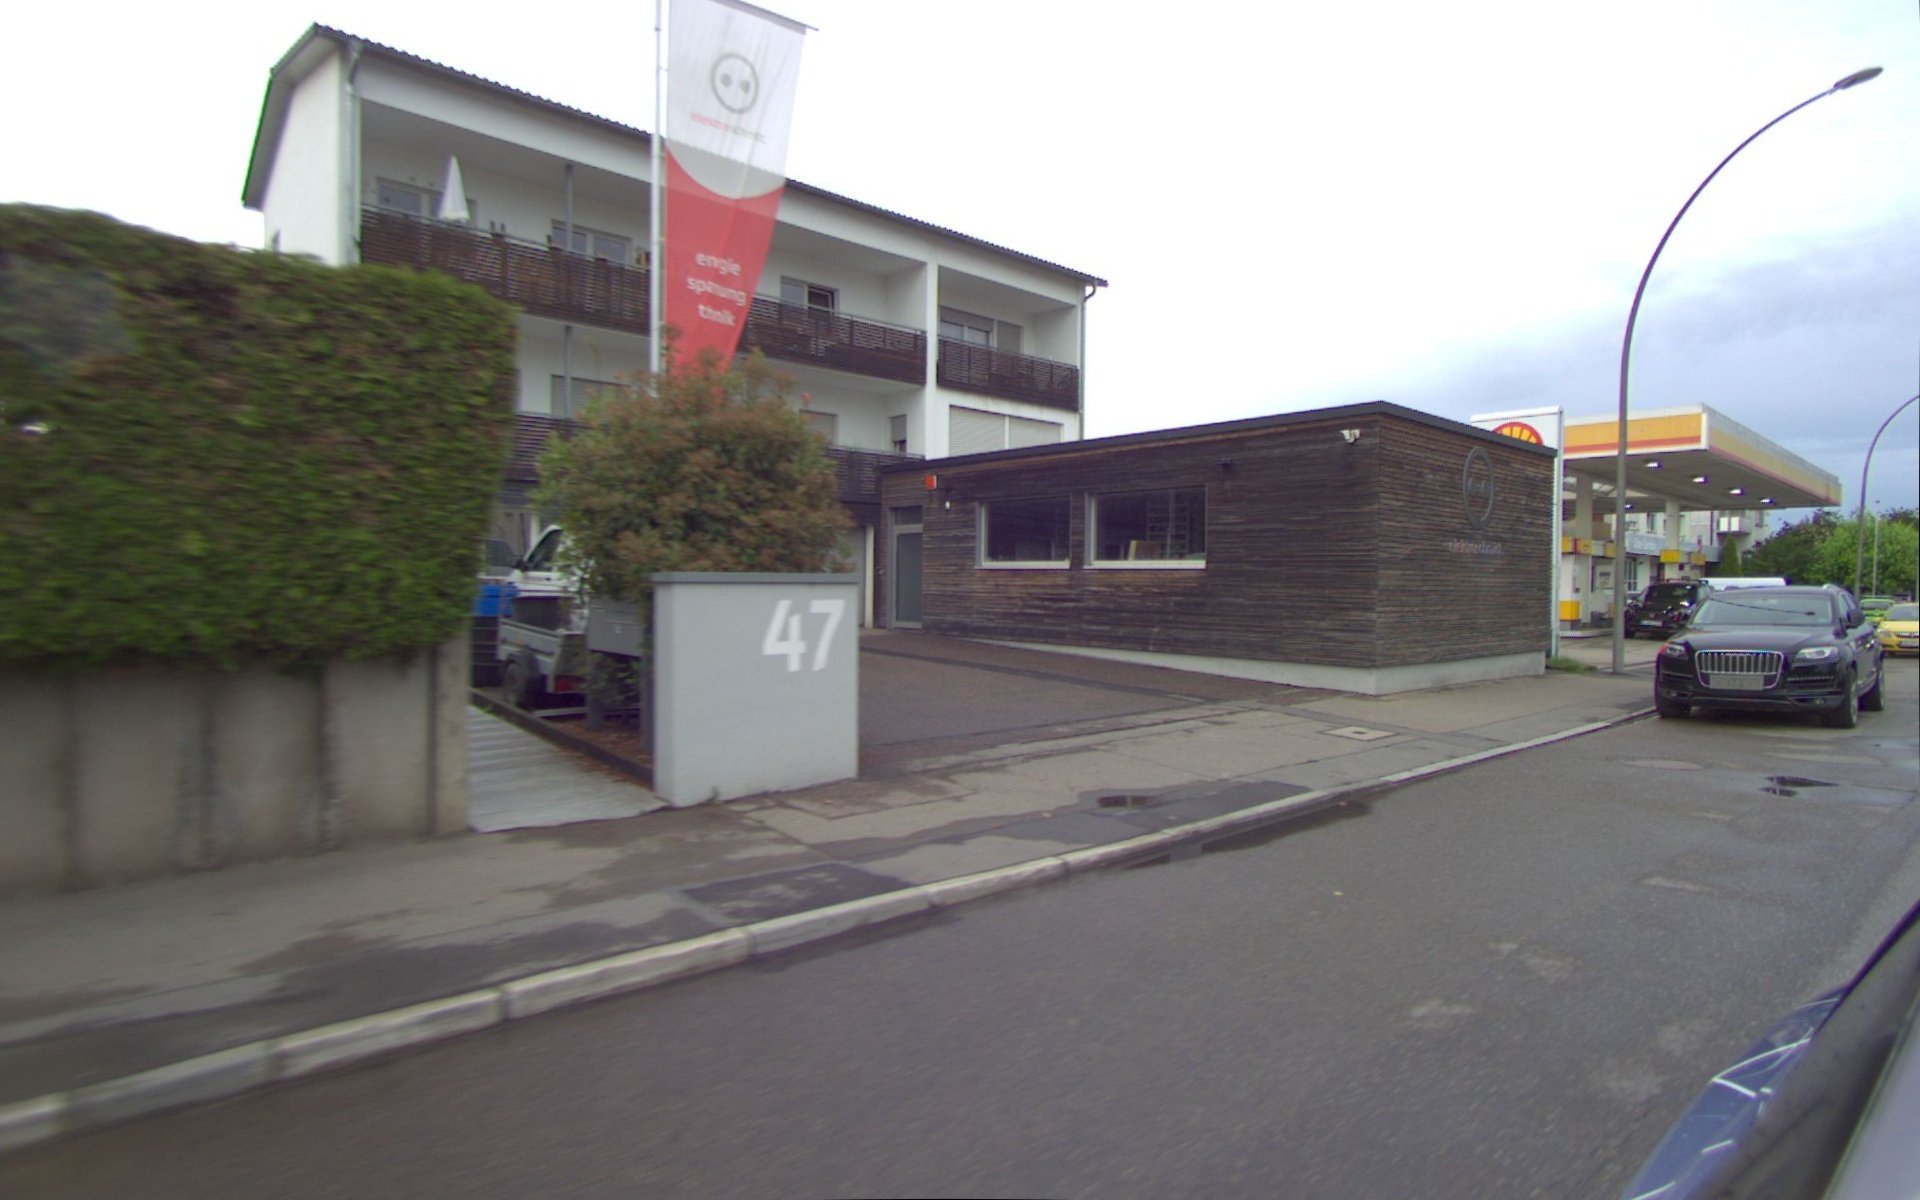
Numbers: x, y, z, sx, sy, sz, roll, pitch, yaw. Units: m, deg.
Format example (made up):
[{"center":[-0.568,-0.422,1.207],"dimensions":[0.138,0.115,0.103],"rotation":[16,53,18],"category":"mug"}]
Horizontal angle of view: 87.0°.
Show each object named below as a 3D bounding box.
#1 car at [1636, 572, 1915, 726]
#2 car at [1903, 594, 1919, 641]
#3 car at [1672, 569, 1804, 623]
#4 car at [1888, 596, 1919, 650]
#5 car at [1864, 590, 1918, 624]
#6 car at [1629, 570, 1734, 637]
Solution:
[{"center":[10.834,0.570,13.333],"dimensions":[4.478,1.683,2.094],"rotation":[1,-1,-41],"category":"car"},{"center":[30.248,0.520,30.999],"dimensions":[3.956,1.394,1.658],"rotation":[0,1,-42],"category":"car"},{"center":[38.248,-0.216,49.933],"dimensions":[4.758,2.552,2.226],"rotation":[1,0,27],"category":"car"},{"center":[26.866,0.613,27.818],"dimensions":[3.736,1.419,1.658],"rotation":[0,1,-42],"category":"car"},{"center":[48.720,0.349,52.938],"dimensions":[1.994,1.704,3.936],"rotation":[1,0,44],"category":"car"},{"center":[21.385,0.078,29.942],"dimensions":[3.934,1.781,1.821],"rotation":[0,3,-44],"category":"car"}]
